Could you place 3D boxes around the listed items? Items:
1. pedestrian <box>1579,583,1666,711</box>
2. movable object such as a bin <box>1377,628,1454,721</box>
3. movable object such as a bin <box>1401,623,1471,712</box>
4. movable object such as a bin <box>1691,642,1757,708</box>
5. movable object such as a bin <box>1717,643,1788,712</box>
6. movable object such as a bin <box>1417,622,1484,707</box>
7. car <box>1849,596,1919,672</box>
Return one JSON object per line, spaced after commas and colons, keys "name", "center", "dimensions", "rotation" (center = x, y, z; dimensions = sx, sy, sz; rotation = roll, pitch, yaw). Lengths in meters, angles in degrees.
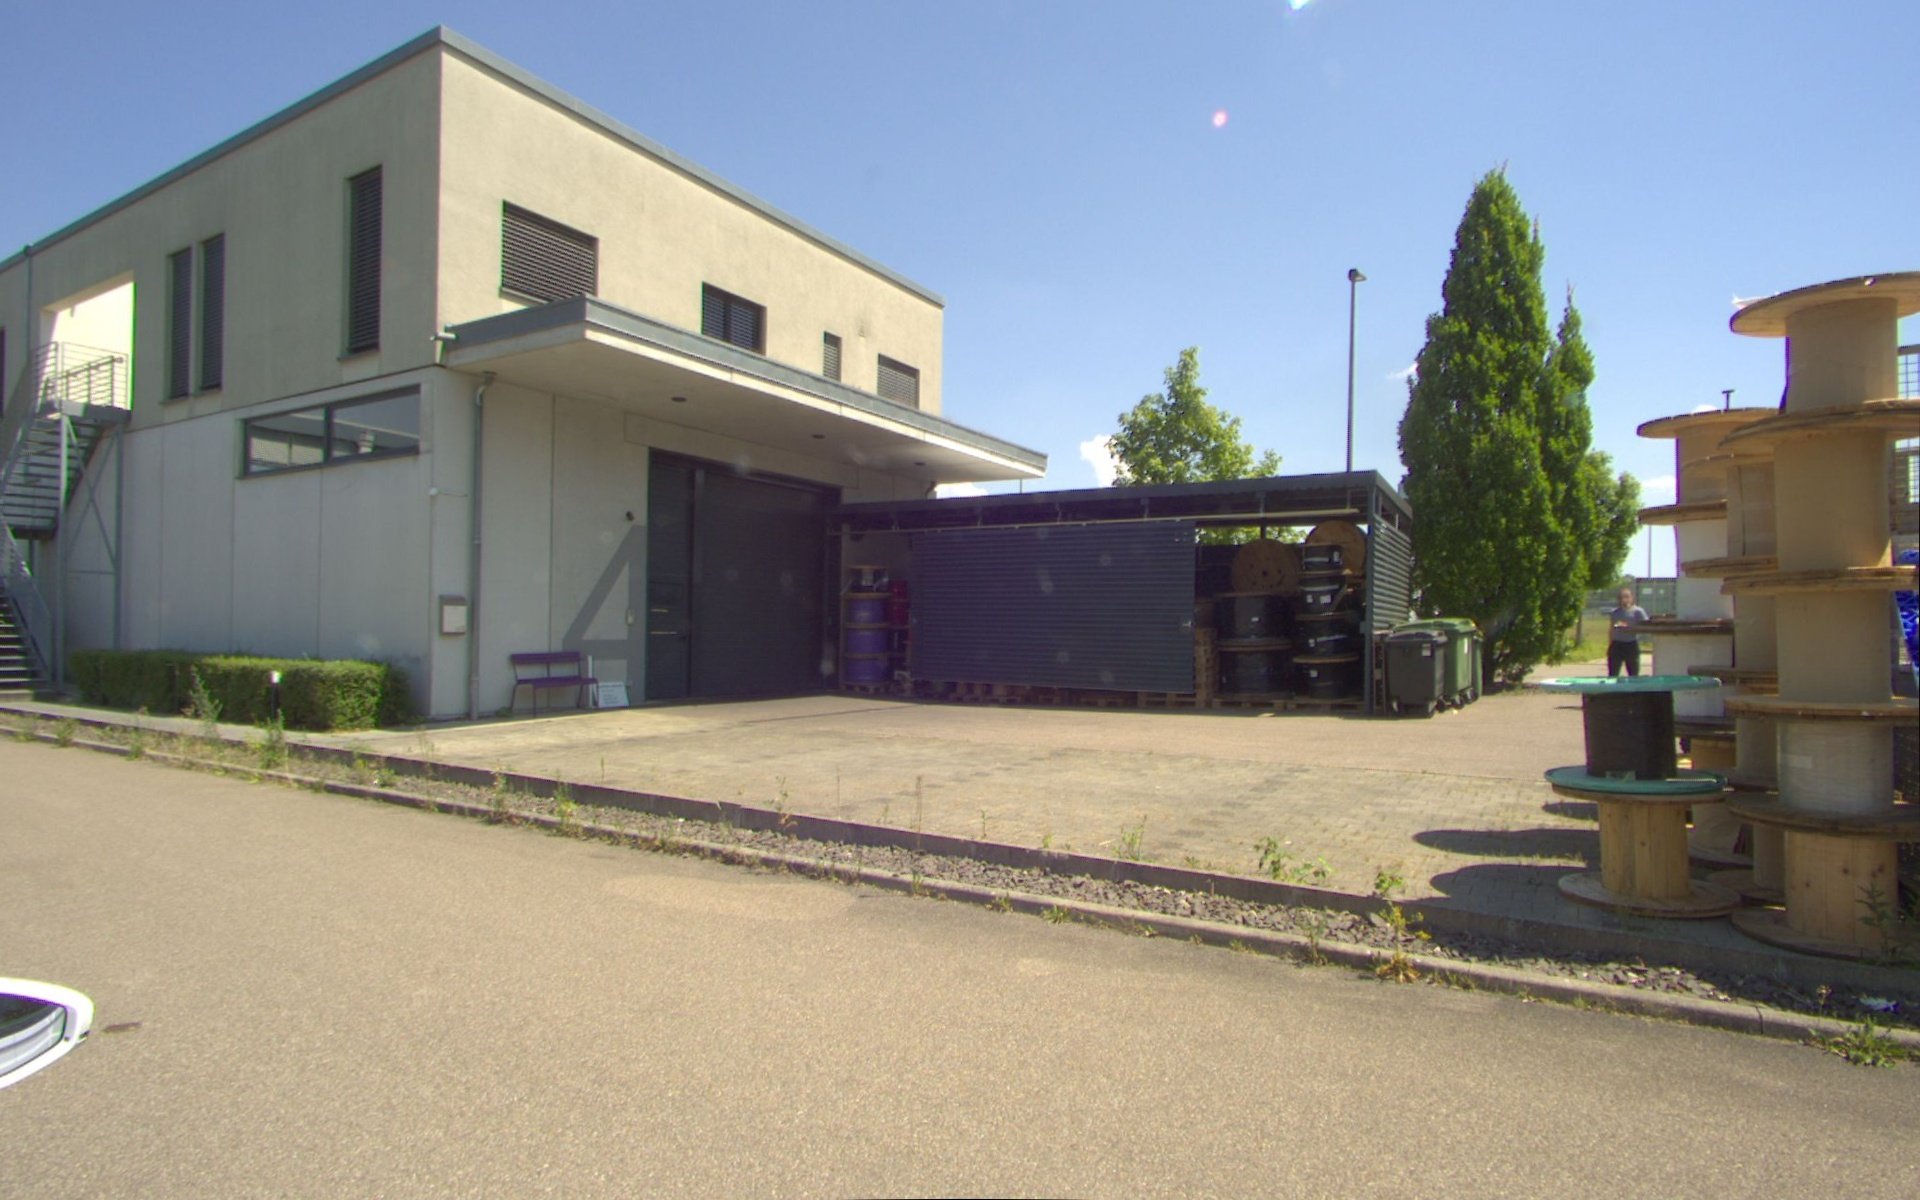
{"name": "pedestrian", "center": [9.612, 0.667, 14.535], "dimensions": [0.757, 1.792, 0.805], "rotation": [0, 0, -28]}
{"name": "movable object such as a bin", "center": [6.525, 1.043, 14.335], "dimensions": [0.792, 1.266, 0.870], "rotation": [-1, -1, 40]}
{"name": "movable object such as a bin", "center": [7.296, 1.015, 15.351], "dimensions": [0.792, 1.315, 0.750], "rotation": [-1, -1, 40]}
{"name": "movable object such as a bin", "center": [11.237, 1.098, 14.744], "dimensions": [0.537, 0.929, 0.585], "rotation": [-1, -1, 7]}
{"name": "movable object such as a bin", "center": [11.146, 1.081, 14.100], "dimensions": [0.537, 0.929, 0.585], "rotation": [-1, -1, 7]}
{"name": "movable object such as a bin", "center": [7.845, 1.014, 16.007], "dimensions": [0.792, 1.315, 0.804], "rotation": [-1, -1, 40]}
{"name": "car", "center": [22.980, 0.780, 24.144], "dimensions": [3.957, 1.728, 1.835], "rotation": [0, -1, -41]}
